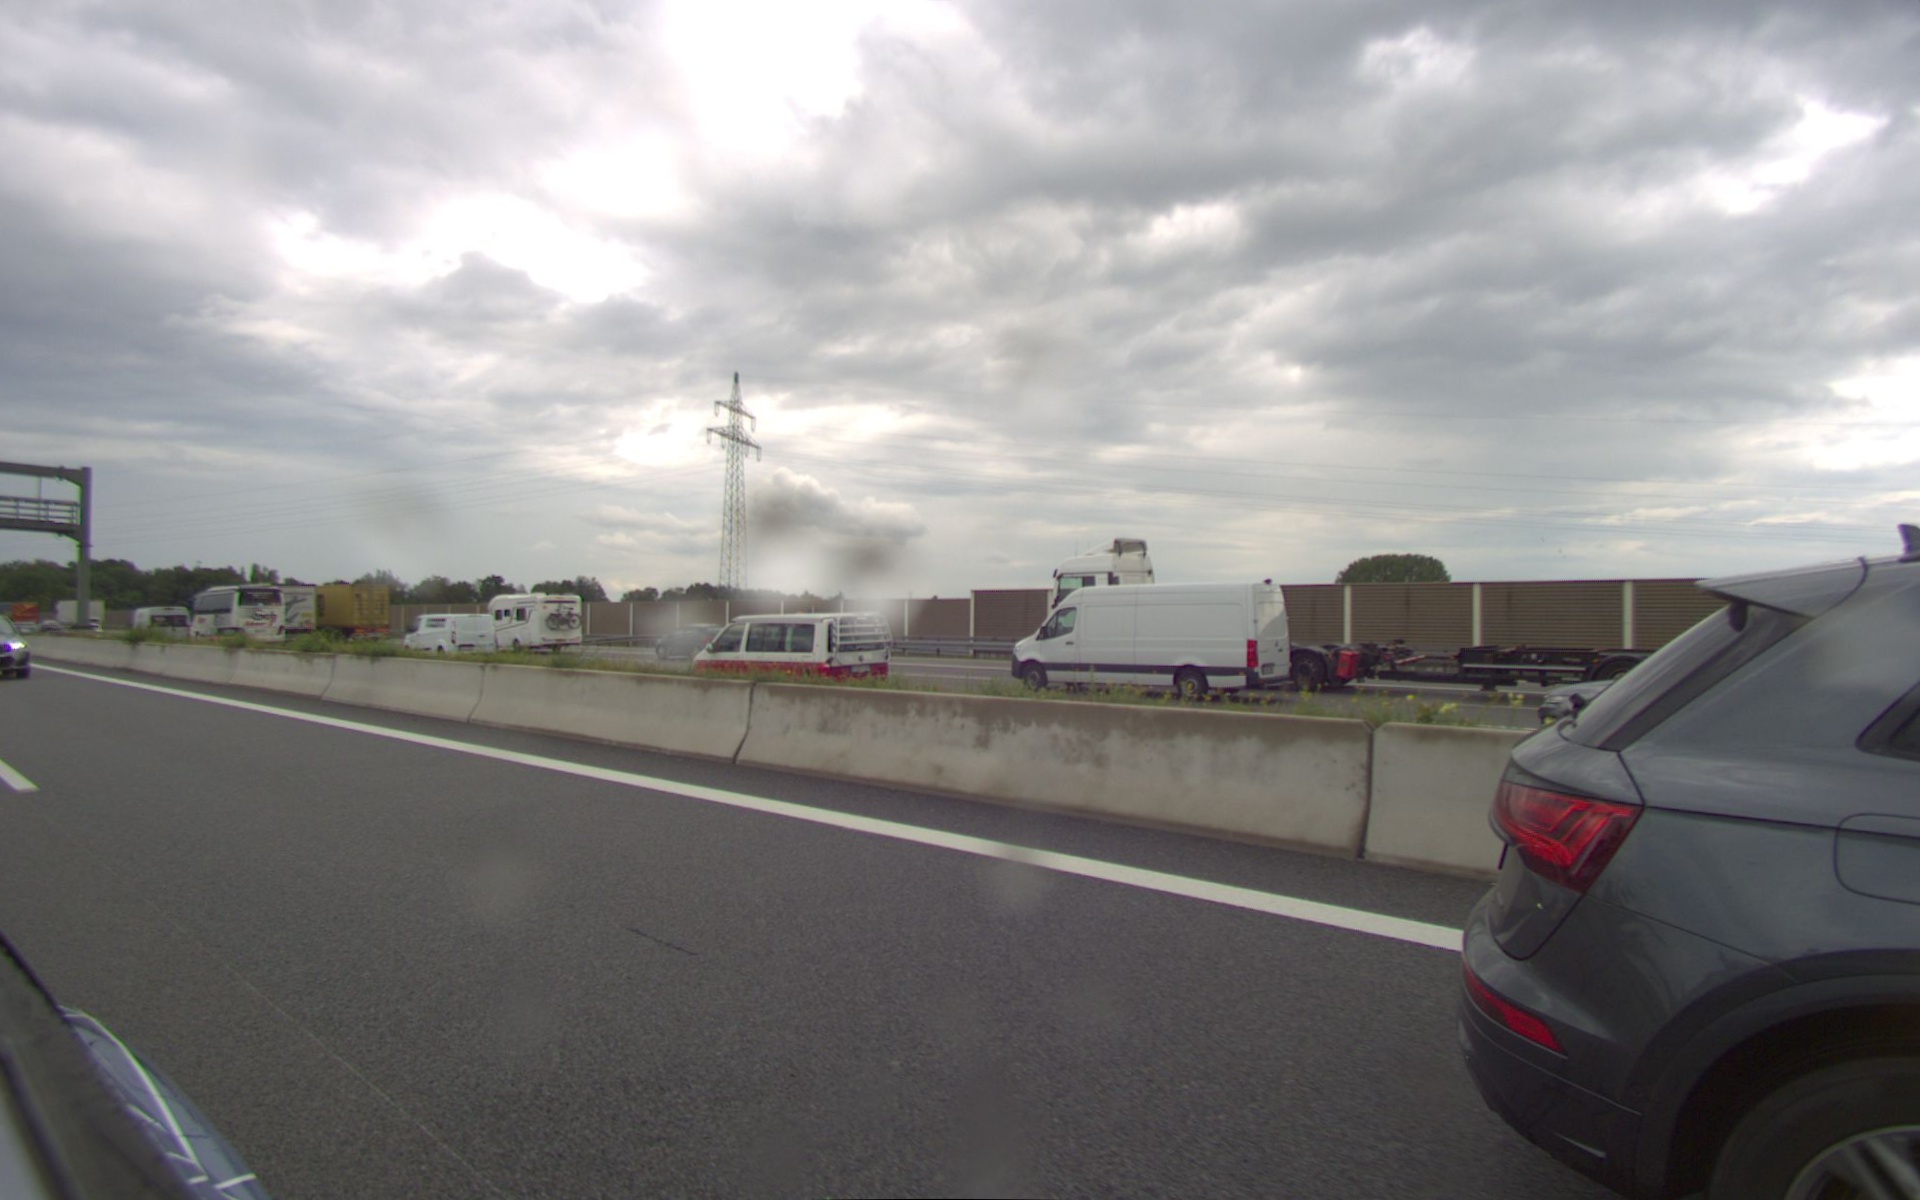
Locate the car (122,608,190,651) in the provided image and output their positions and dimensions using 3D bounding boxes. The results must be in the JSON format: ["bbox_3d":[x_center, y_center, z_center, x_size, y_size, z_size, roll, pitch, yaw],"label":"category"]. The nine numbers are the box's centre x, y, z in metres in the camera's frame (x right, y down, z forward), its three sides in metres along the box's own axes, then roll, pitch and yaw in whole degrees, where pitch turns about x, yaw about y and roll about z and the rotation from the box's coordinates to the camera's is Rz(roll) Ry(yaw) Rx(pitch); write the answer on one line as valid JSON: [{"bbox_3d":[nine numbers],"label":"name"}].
[{"bbox_3d":[-46.998,1.687,59.107,5.707,2.369,2.114,-1,0,41],"label":"car"}]

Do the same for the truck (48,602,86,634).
[{"bbox_3d":[-120.841,2.482,136.952,6.616,4.147,2.871,-1,0,40],"label":"truck"}]

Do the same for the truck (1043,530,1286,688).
[{"bbox_3d":[5.552,0.290,28.064,6.048,3.917,2.723,-1,-2,42],"label":"truck"}]

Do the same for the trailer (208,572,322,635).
[{"bbox_3d":[-48.098,0.321,69.714,14.288,3.991,2.856,-1,0,41],"label":"trailer"}]

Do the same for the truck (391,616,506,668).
[{"bbox_3d":[-20.954,1.651,41.358,5.541,2.015,2.221,-1,-1,40],"label":"truck"}]

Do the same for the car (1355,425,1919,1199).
[{"bbox_3d":[3.406,0.552,1.166,5.166,1.704,1.888,-1,-1,41],"label":"car"}]

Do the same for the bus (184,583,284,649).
[{"bbox_3d":[-44.112,0.995,61.339,10.630,3.707,2.626,-1,-2,42],"label":"bus"}]

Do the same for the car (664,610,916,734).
[{"bbox_3d":[-3.655,1.355,21.057,5.511,2.254,2.206,-1,-2,42],"label":"car"}]

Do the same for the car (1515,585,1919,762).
[{"bbox_3d":[11.140,0.892,13.494,6.191,2.067,2.423,-1,-2,42],"label":"car"}]

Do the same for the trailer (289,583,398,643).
[{"bbox_3d":[-44.492,0.942,72.726,12.969,3.963,2.997,-1,-2,42],"label":"trailer"}]

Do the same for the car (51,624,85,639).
[{"bbox_3d":[-86.608,3.051,98.212,4.856,1.392,1.770,-1,0,40],"label":"car"}]

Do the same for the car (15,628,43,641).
[{"bbox_3d":[-104.390,3.869,113.476,4.856,1.437,1.699,-1,0,40],"label":"car"}]

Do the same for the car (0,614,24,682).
[{"bbox_3d":[-25.331,1.217,25.722,4.913,1.637,1.817,-1,-1,42],"label":"car"}]

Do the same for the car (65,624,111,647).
[{"bbox_3d":[-61.014,2.469,70.764,4.373,1.551,1.719,-1,0,40],"label":"car"}]

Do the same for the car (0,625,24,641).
[{"bbox_3d":[-88.787,3.054,94.260,4.856,1.392,1.770,-1,0,40],"label":"car"}]

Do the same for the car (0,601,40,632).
[{"bbox_3d":[-130.676,2.343,140.096,14.382,4.155,2.953,-1,0,40],"label":"car"}]

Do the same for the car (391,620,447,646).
[{"bbox_3d":[-33.138,1.999,61.928,3.887,1.554,1.768,-1,-2,42],"label":"car"}]

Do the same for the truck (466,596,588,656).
[{"bbox_3d":[-22.293,1.305,51.853,7.831,2.835,2.663,-1,-2,42],"label":"truck"}]

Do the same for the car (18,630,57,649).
[{"bbox_3d":[-76.549,3.258,83.955,4.585,1.392,1.770,-1,0,40],"label":"car"}]

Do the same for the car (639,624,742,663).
[{"bbox_3d":[-11.235,1.764,41.997,4.771,1.499,1.788,-1,-1,42],"label":"car"}]

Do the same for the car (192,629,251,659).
[{"bbox_3d":[-36.085,2.108,49.425,3.325,1.399,1.598,-1,-1,40],"label":"car"}]

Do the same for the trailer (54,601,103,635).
[{"bbox_3d":[-115.249,2.355,132.235,12.687,4.147,2.871,-1,0,40],"label":"trailer"}]

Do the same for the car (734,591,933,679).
[{"bbox_3d":[-3.480,0.886,27.079,5.538,2.130,2.220,-1,-2,42],"label":"car"}]

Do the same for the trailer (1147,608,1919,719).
[{"bbox_3d":[11.934,1.191,22.352,16.343,1.842,2.723,-1,-2,42],"label":"trailer"}]

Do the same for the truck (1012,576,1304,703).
[{"bbox_3d":[4.497,0.871,23.908,6.555,2.623,2.220,-1,-2,41],"label":"truck"}]
